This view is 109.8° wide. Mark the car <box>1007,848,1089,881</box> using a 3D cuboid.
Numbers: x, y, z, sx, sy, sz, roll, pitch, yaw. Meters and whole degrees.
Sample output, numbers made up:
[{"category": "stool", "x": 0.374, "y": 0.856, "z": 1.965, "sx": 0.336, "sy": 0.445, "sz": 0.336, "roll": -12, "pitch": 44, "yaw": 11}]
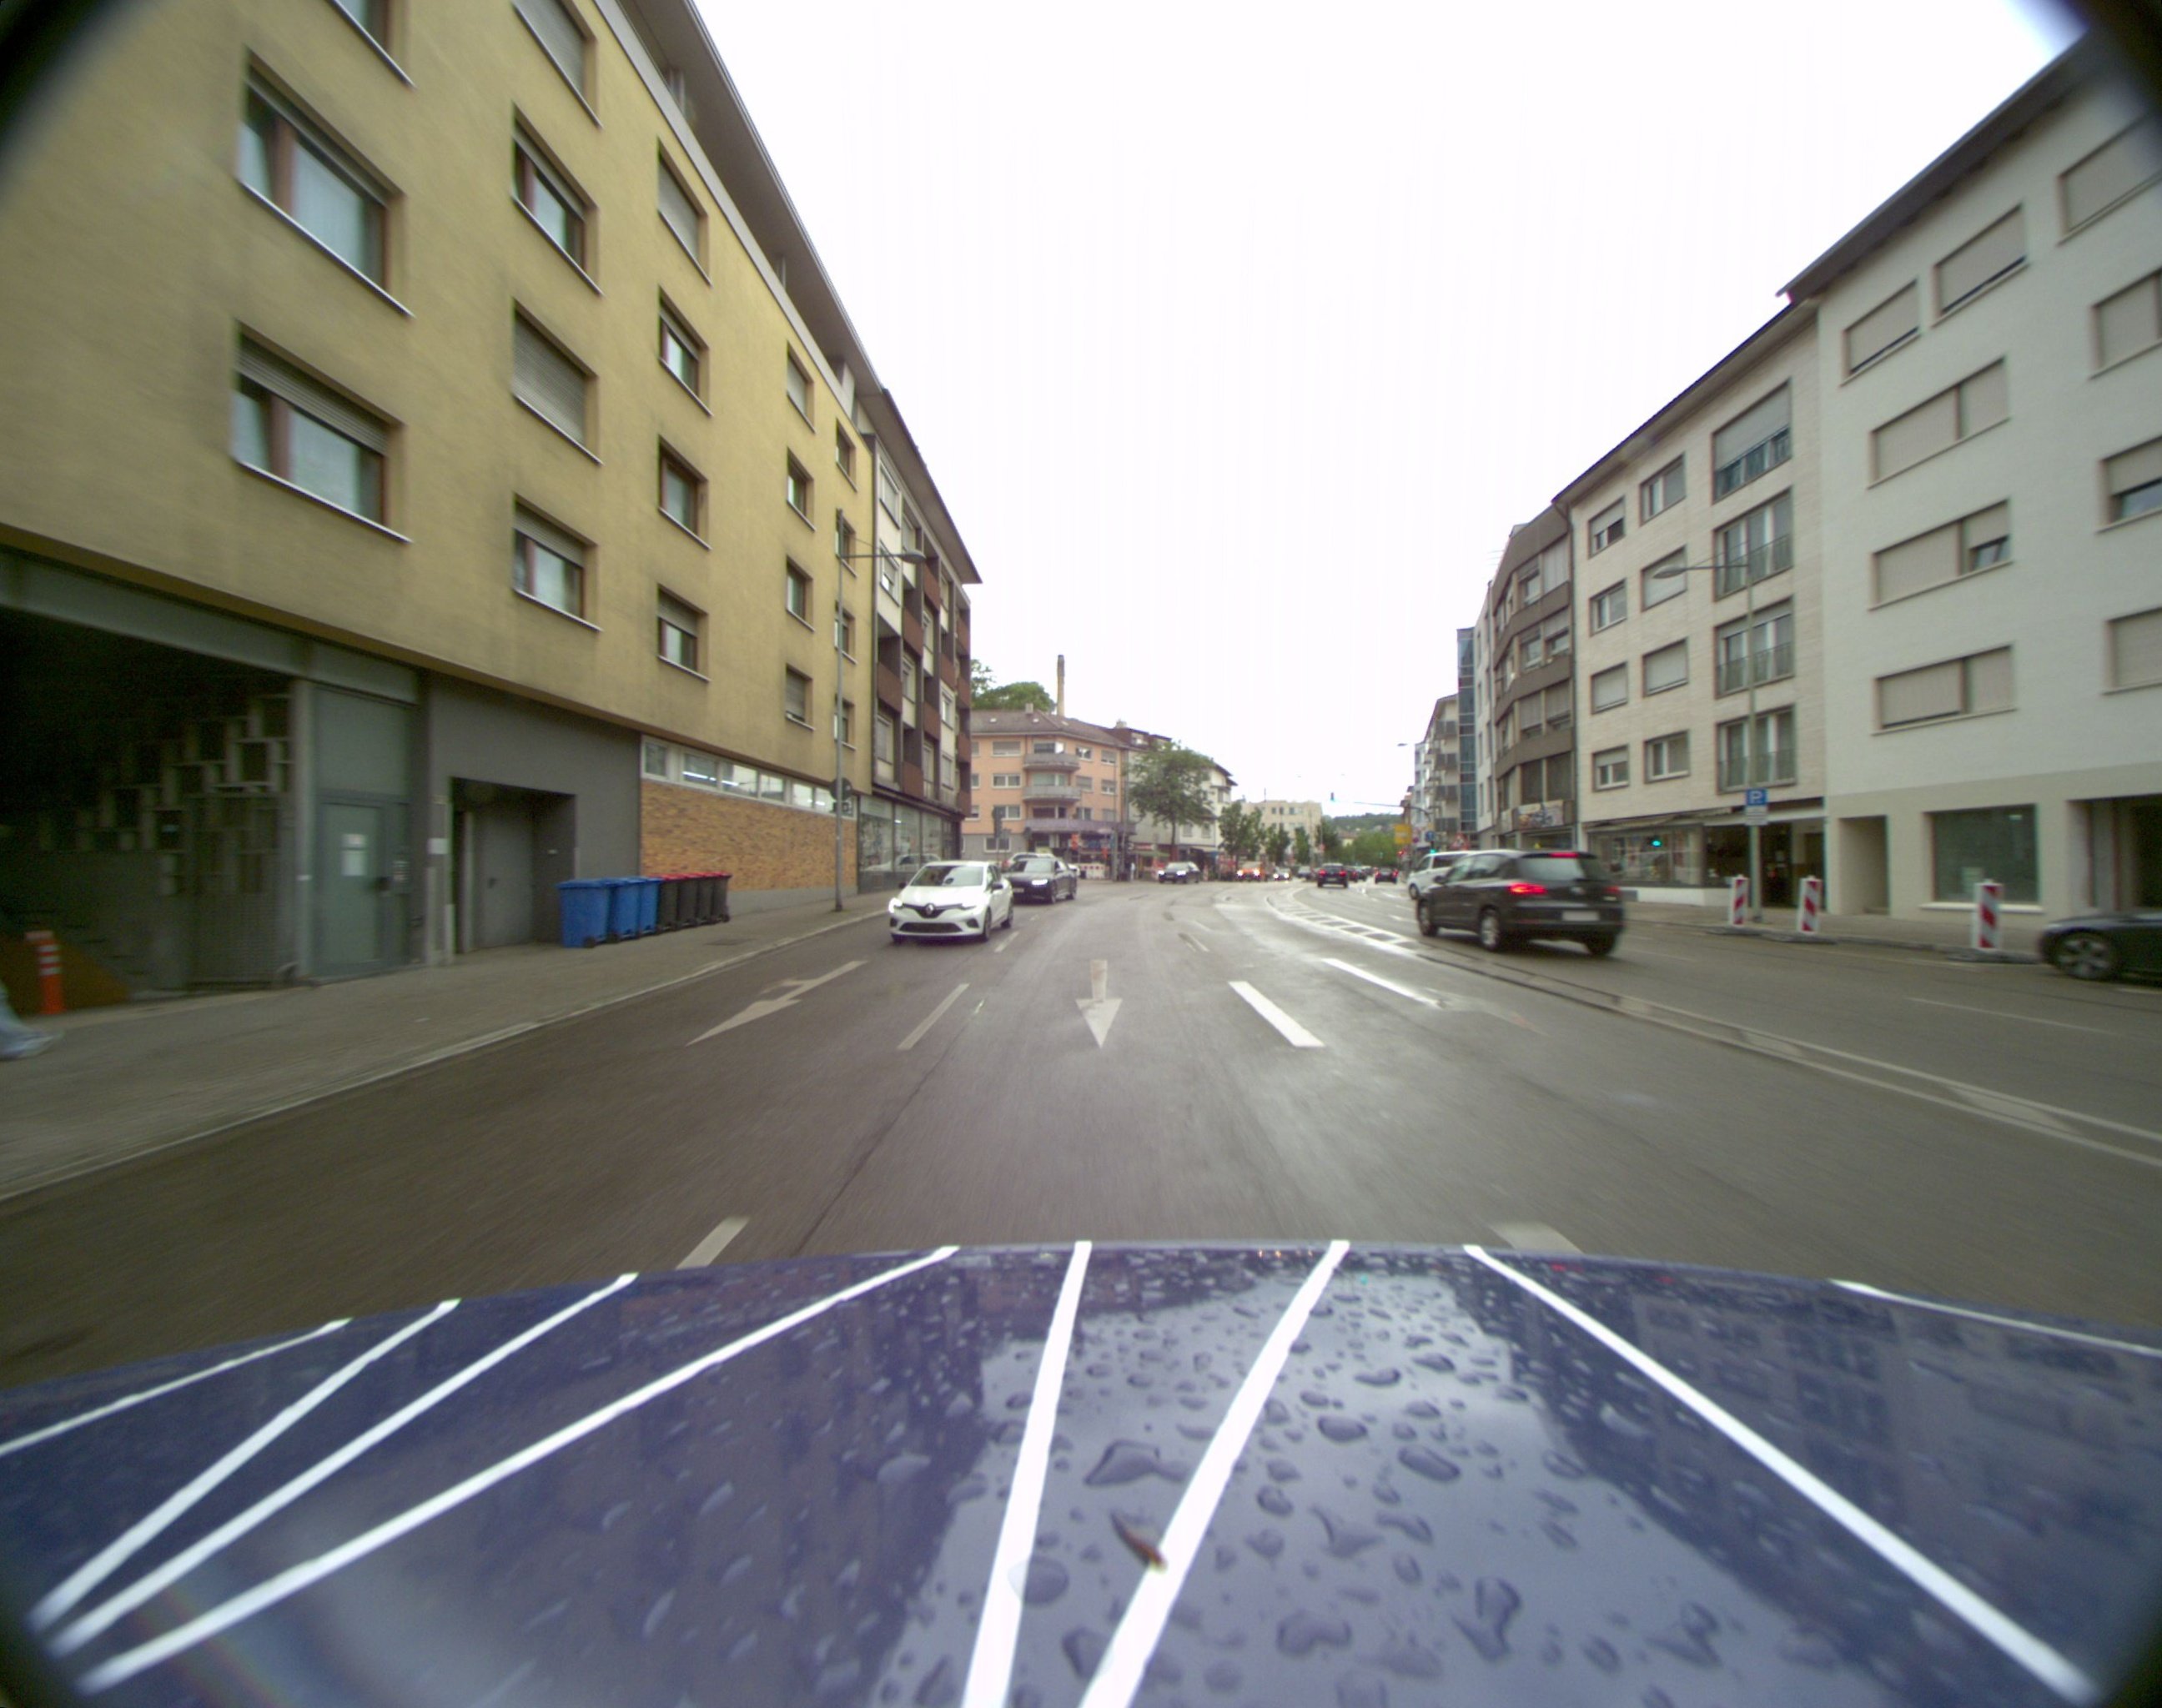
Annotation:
[{"category": "car", "x": -1.977, "y": 0.581, "z": 44.400, "sx": 4.783, "sy": 1.710, "sz": 2.005, "roll": 2, "pitch": 1, "yaw": 44}]

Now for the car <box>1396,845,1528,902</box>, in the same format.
[{"category": "car", "x": 15.352, "y": 0.731, "z": 31.022, "sx": 2.125, "sy": 2.003, "sz": 5.124, "roll": -3, "pitch": 0, "yaw": -9}]

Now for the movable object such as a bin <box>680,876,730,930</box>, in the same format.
[{"category": "movable object such as a bin", "x": -7.658, "y": 0.987, "z": 15.489, "sx": 0.682, "sy": 1.070, "sz": 0.668, "roll": 0, "pitch": 0, "yaw": 1}]

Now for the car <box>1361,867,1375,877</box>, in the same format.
[{"category": "car", "x": 43.586, "y": 2.734, "z": 115.188, "sx": 1.831, "sy": 1.534, "sz": 4.291, "roll": 0, "pitch": -1, "yaw": 22}]

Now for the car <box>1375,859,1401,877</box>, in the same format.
[{"category": "car", "x": 25.229, "y": 1.190, "z": 62.439, "sx": 1.723, "sy": 1.391, "sz": 3.602, "roll": 0, "pitch": -1, "yaw": 26}]

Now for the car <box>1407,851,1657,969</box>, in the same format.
[{"category": "car", "x": 7.282, "y": 0.800, "z": 12.877, "sx": 1.866, "sy": 1.637, "sz": 4.255, "roll": 1, "pitch": 0, "yaw": 3}]

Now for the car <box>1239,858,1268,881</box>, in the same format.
[{"category": "car", "x": 16.386, "y": 1.412, "z": 71.868, "sx": 2.195, "sy": 2.073, "sz": 5.941, "roll": -1, "pitch": 0, "yaw": 17}]

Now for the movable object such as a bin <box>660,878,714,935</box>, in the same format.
[{"category": "movable object such as a bin", "x": -7.671, "y": 1.011, "z": 14.802, "sx": 0.682, "sy": 1.070, "sz": 0.668, "roll": 0, "pitch": 0, "yaw": 1}]

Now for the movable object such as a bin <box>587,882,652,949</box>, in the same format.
[{"category": "movable object such as a bin", "x": -7.730, "y": 1.026, "z": 12.749, "sx": 0.682, "sy": 1.070, "sz": 0.668, "roll": 0, "pitch": 0, "yaw": 1}]

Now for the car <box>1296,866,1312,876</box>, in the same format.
[{"category": "car", "x": 32.174, "y": 2.460, "z": 109.538, "sx": 1.811, "sy": 1.334, "sz": 4.007, "roll": -3, "pitch": -1, "yaw": 22}]

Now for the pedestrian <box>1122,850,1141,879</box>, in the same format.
[{"category": "pedestrian", "x": 3.410, "y": 0.702, "z": 50.912, "sx": 0.920, "sy": 1.850, "sz": 1.029, "roll": 0, "pitch": 2, "yaw": -18}]

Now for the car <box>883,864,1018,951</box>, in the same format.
[{"category": "car", "x": -2.366, "y": 0.924, "z": 14.753, "sx": 1.680, "sy": 1.395, "sz": 4.001, "roll": 0, "pitch": 0, "yaw": 4}]

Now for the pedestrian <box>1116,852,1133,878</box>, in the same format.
[{"category": "pedestrian", "x": 2.830, "y": 0.734, "z": 49.737, "sx": 0.822, "sy": 1.678, "sz": 0.792, "roll": 0, "pitch": 2, "yaw": -25}]

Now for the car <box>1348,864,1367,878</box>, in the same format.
[{"category": "car", "x": 28.733, "y": 1.742, "z": 79.008, "sx": 1.826, "sy": 1.358, "sz": 4.610, "roll": 1, "pitch": 0, "yaw": 20}]

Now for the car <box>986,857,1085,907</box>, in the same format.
[{"category": "car", "x": -1.380, "y": 0.862, "z": 25.723, "sx": 2.038, "sy": 1.379, "sz": 5.298, "roll": 1, "pitch": 1, "yaw": 11}]

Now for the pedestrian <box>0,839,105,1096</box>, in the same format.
[{"category": "pedestrian", "x": -7.847, "y": 0.792, "z": 5.282, "sx": 0.674, "sy": 1.777, "sz": 1.095, "roll": -1, "pitch": 0, "yaw": 4}]

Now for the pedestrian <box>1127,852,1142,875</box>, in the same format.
[{"category": "pedestrian", "x": 4.485, "y": 0.771, "z": 63.604, "sx": 0.990, "sy": 1.869, "sz": 0.659, "roll": 2, "pitch": 2, "yaw": 43}]

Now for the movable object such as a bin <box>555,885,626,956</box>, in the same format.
[{"category": "movable object such as a bin", "x": -7.759, "y": 1.037, "z": 12.047, "sx": 0.682, "sy": 1.070, "sz": 0.668, "roll": 0, "pitch": 0, "yaw": 1}]

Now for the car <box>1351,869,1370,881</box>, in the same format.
[{"category": "car", "x": 35.239, "y": 2.607, "z": 95.786, "sx": 1.854, "sy": 1.465, "sz": 4.657, "roll": 1, "pitch": 0, "yaw": 24}]

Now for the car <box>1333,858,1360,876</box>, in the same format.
[{"category": "car", "x": 23.626, "y": 1.134, "z": 67.460, "sx": 1.985, "sy": 1.451, "sz": 4.493, "roll": 2, "pitch": 0, "yaw": 23}]

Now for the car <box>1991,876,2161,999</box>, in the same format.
[{"category": "car", "x": 14.145, "y": 1.051, "z": 8.495, "sx": 1.887, "sy": 1.468, "sz": 4.979, "roll": 1, "pitch": 0, "yaw": -1}]

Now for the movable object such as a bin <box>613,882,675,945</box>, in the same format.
[{"category": "movable object such as a bin", "x": -7.715, "y": 1.037, "z": 13.434, "sx": 0.682, "sy": 1.070, "sz": 0.668, "roll": 0, "pitch": 0, "yaw": 1}]

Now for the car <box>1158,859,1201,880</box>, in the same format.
[{"category": "car", "x": 6.593, "y": 1.052, "z": 50.299, "sx": 1.809, "sy": 1.331, "sz": 4.286, "roll": 0, "pitch": -2, "yaw": 22}]

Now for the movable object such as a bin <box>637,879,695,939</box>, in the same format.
[{"category": "movable object such as a bin", "x": -7.695, "y": 1.014, "z": 14.115, "sx": 0.682, "sy": 1.070, "sz": 0.668, "roll": 0, "pitch": 0, "yaw": 1}]

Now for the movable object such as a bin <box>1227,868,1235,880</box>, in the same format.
[{"category": "movable object such as a bin", "x": 14.525, "y": 1.906, "z": 73.626, "sx": 0.578, "sy": 1.104, "sz": 0.667, "roll": 2, "pitch": -1, "yaw": 28}]

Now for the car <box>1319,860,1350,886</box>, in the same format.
[{"category": "car", "x": 15.689, "y": 1.183, "z": 46.985, "sx": 1.685, "sy": 1.464, "sz": 4.007, "roll": 2, "pitch": 0, "yaw": 20}]

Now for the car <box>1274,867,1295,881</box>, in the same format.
[{"category": "car", "x": 23.464, "y": 2.314, "z": 87.463, "sx": 1.840, "sy": 1.433, "sz": 4.006, "roll": -2, "pitch": -1, "yaw": 22}]
